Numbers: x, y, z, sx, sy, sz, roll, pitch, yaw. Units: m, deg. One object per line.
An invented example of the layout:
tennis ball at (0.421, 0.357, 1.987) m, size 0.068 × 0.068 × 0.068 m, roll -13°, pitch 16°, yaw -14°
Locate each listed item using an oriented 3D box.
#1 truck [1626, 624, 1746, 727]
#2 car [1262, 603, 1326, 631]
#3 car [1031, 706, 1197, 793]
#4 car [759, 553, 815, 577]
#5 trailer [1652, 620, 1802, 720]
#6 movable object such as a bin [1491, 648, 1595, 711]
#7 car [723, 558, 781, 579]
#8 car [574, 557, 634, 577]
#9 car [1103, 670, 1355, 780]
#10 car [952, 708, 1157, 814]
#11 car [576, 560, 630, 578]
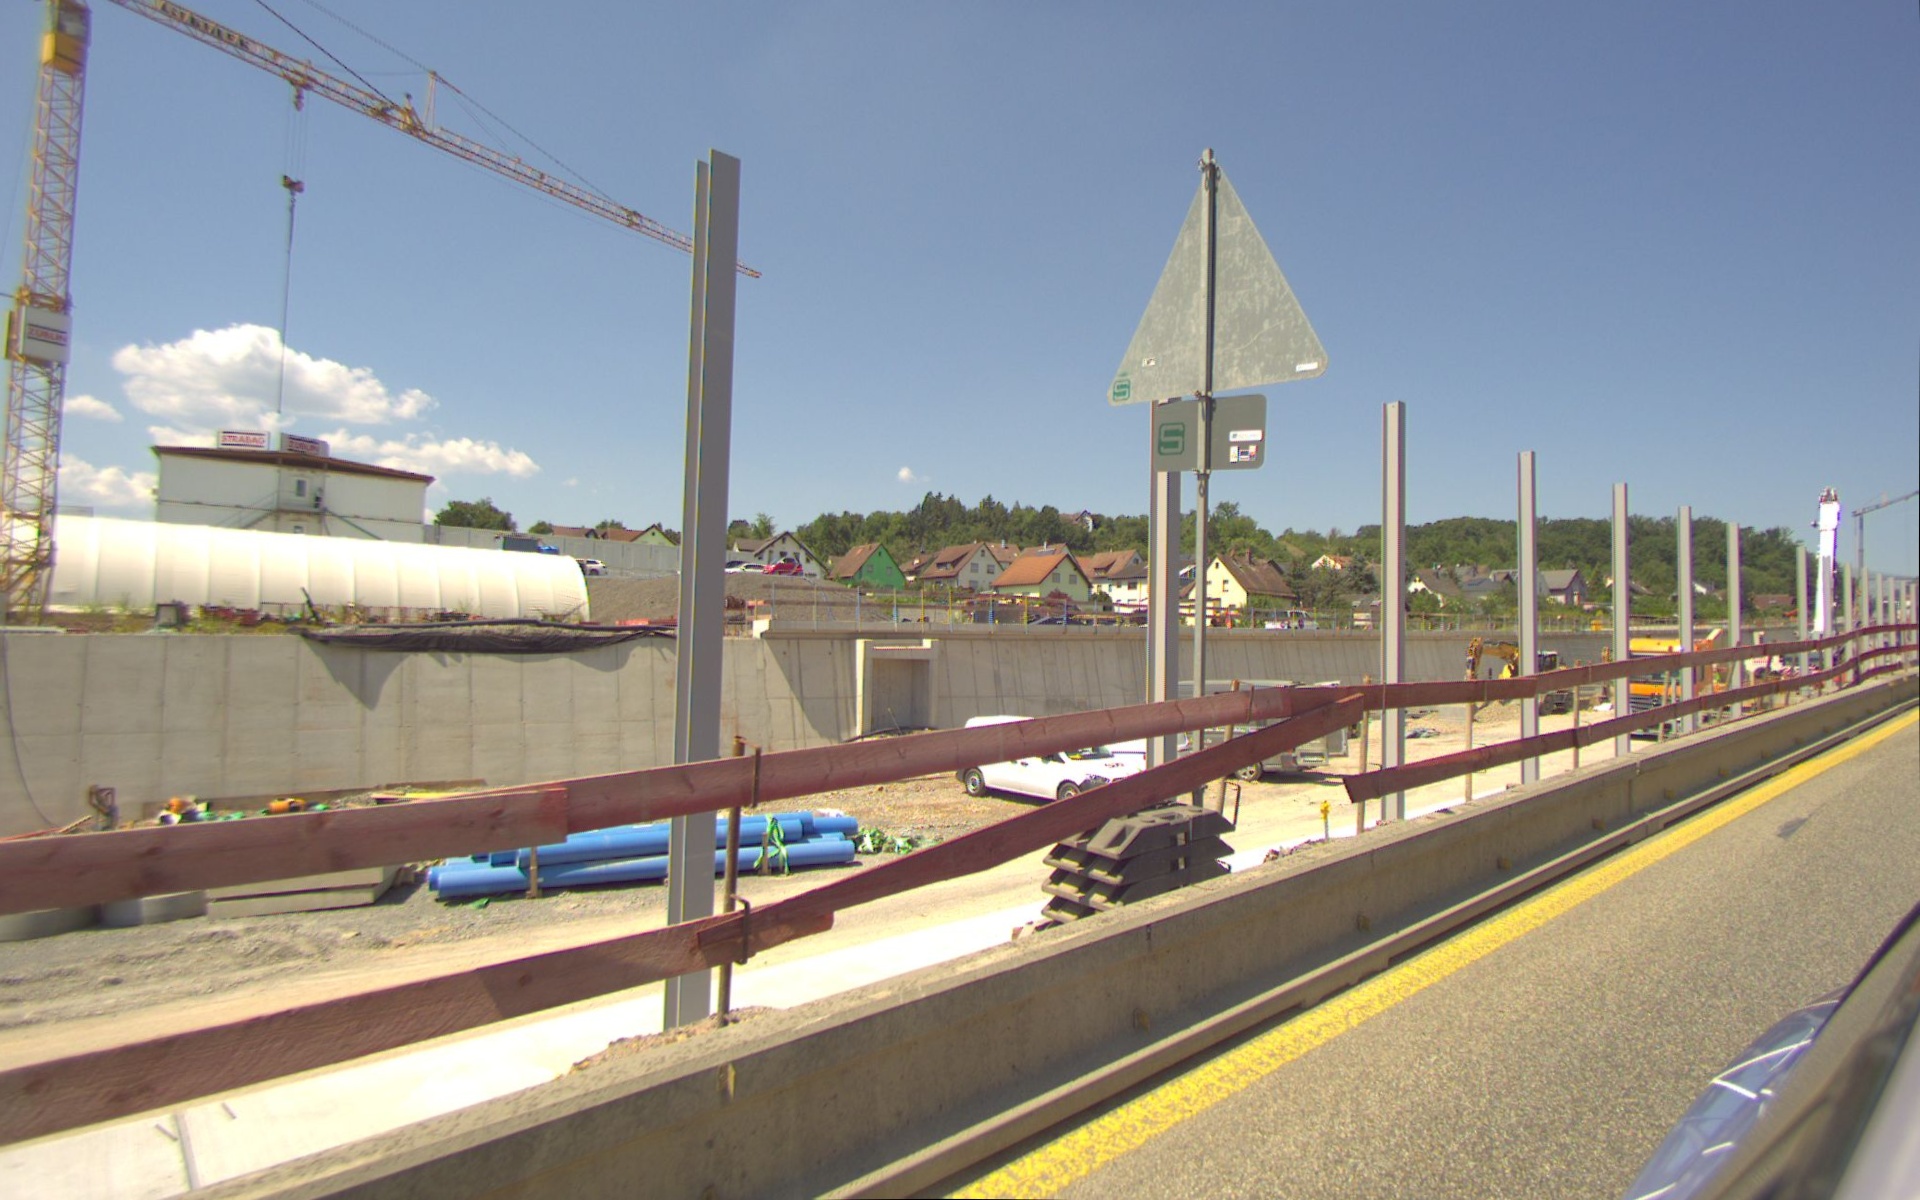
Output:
truck at (27.451, 2.725, 38.208) m, size 5.341 × 3.448 × 2.503 m, roll 0°, pitch 0°, yaw -41°
car at (20.481, 1.007, 61.958) m, size 4.527 × 1.623 × 1.656 m, roll -1°, pitch 0°, yaw -42°
car at (3.799, 3.666, 25.375) m, size 3.859 × 1.708 × 1.666 m, roll -3°, pitch -2°, yaw 45°
car at (-11.949, -2.395, 69.904) m, size 3.544 × 1.505 × 1.544 m, roll -1°, pitch 0°, yaw -41°
trailer at (32.523, 2.715, 42.613) m, size 12.669 × 3.394 × 2.444 m, roll -1°, pitch 0°, yaw -41°
movable object such as a bin at (29.862, 4.011, 51.893) m, size 3.924 × 2.820 × 3.270 m, roll 0°, pitch 0°, yaw -35°
car at (-16.065, -2.404, 78.227) m, size 4.141 × 1.505 × 1.727 m, roll -1°, pitch 0°, yaw -41°
car at (-27.980, -2.591, 79.495) m, size 4.136 × 1.505 × 1.729 m, roll -1°, pitch 0°, yaw -37°
car at (7.154, 3.272, 27.453) m, size 6.267 × 2.616 × 2.027 m, roll -4°, pitch -4°, yaw 36°
car at (2.004, 3.530, 22.979) m, size 1.690 × 1.792 × 4.796 m, roll 0°, pitch -2°, yaw -40°
car at (-31.710, -2.724, 89.926) m, size 4.139 × 1.505 × 1.728 m, roll -1°, pitch 0°, yaw -39°
